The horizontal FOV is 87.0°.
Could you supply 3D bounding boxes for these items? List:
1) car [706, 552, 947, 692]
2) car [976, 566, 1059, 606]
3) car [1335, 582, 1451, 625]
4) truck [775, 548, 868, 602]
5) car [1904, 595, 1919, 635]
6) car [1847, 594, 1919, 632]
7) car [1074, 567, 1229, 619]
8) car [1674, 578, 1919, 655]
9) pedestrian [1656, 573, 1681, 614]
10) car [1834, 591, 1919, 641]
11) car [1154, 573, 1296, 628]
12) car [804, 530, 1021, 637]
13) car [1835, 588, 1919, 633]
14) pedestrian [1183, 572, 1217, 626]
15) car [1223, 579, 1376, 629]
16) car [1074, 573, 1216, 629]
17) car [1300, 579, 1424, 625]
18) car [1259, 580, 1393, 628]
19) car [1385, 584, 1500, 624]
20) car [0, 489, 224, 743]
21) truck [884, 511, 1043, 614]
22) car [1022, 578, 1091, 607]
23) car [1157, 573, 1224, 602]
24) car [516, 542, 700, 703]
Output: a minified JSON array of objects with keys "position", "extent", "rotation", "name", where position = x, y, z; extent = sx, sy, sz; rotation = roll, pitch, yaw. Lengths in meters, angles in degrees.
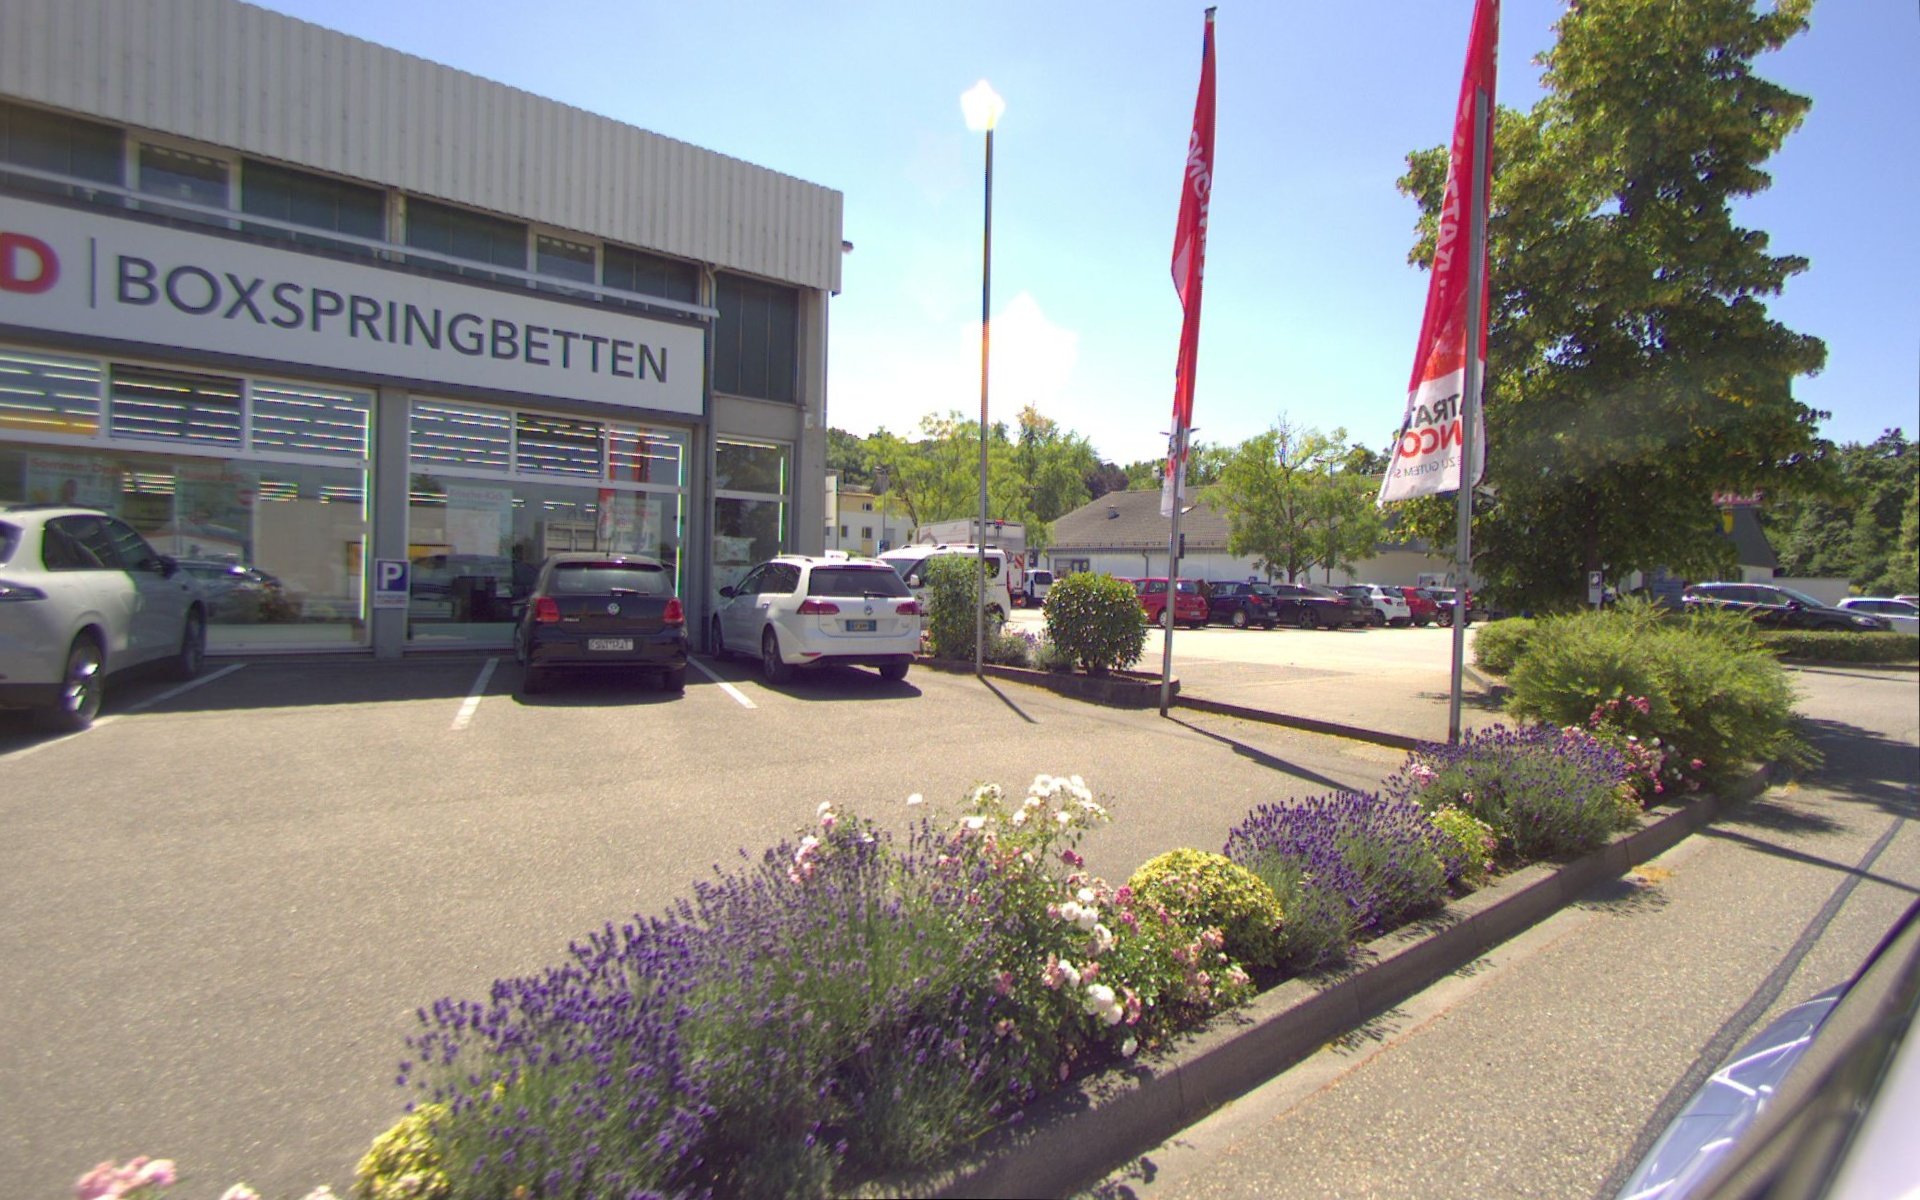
[{"position":[-1.870,0.156,12.905],"extent":[1.768,1.478,4.007],"rotation":[1,2,-27],"name":"car"},{"position":[2.777,-0.700,49.706],"extent":[1.746,1.812,3.995],"rotation":[0,2,-41],"name":"car"},{"position":[16.098,0.103,37.736],"extent":[1.714,1.476,3.606],"rotation":[1,1,-38],"name":"car"},{"position":[-6.932,-1.243,50.183],"extent":[2.139,2.488,5.485],"rotation":[0,1,-37],"name":"truck"},{"position":[43.105,0.713,42.475],"extent":[1.964,1.697,4.859],"rotation":[1,1,-39],"name":"car"},{"position":[38.385,0.544,40.429],"extent":[1.919,1.428,4.238],"rotation":[1,1,-41],"name":"car"},{"position":[6.959,-0.291,37.335],"extent":[1.966,1.662,5.523],"rotation":[1,2,-42],"name":"car"},{"position":[21.088,0.360,25.625],"extent":[1.858,1.688,4.531],"rotation":[1,1,-34],"name":"car"},{"position":[30.796,-0.293,43.988],"extent":[0.771,1.775,0.699],"rotation":[0,2,-40],"name":"pedestrian"},{"position":[31.044,0.540,33.139],"extent":[1.554,1.525,3.405],"rotation":[1,2,-40],"name":"car"},{"position":[8.191,-0.027,31.562],"extent":[1.776,1.582,4.028],"rotation":[0,1,-40],"name":"car"},{"position":[-0.868,-0.340,20.184],"extent":[4.185,1.914,1.708],"rotation":[0,2,-43],"name":"car"},{"position":[34.623,0.408,36.579],"extent":[1.778,1.499,4.319],"rotation":[1,2,-41],"name":"car"},{"position":[7.272,-0.032,30.717],"extent":[0.694,1.611,0.680],"rotation":[0,2,-38],"name":"pedestrian"},{"position":[10.746,0.082,32.227],"extent":[1.868,1.408,4.250],"rotation":[0,2,-41],"name":"car"},{"position":[5.488,-0.006,30.339],"extent":[1.625,1.551,3.991],"rotation":[0,1,-44],"name":"car"},{"position":[14.310,0.038,36.162],"extent":[1.786,1.523,3.732],"rotation":[1,1,-38],"name":"car"},{"position":[12.451,0.093,34.586],"extent":[1.696,1.495,4.029],"rotation":[0,1,-37],"name":"car"},{"position":[18.428,0.127,38.752],"extent":[1.641,1.434,3.606],"rotation":[1,1,-38],"name":"car"},{"position":[-7.899,-0.001,8.410],"extent":[1.958,1.662,4.607],"rotation":[1,2,-24],"name":"car"},{"position":[-0.051,-1.206,32.587],"extent":[2.374,2.985,5.961],"rotation":[2,2,-30],"name":"truck"},{"position":[4.810,-0.406,50.948],"extent":[1.404,1.338,3.422],"rotation":[0,2,-41],"name":"car"},{"position":[13.741,-0.748,60.185],"extent":[3.932,1.571,1.996],"rotation":[0,2,-43],"name":"car"},{"position":[-4.242,0.129,11.816],"extent":[1.643,1.551,3.875],"rotation":[1,2,-25],"name":"car"}]
